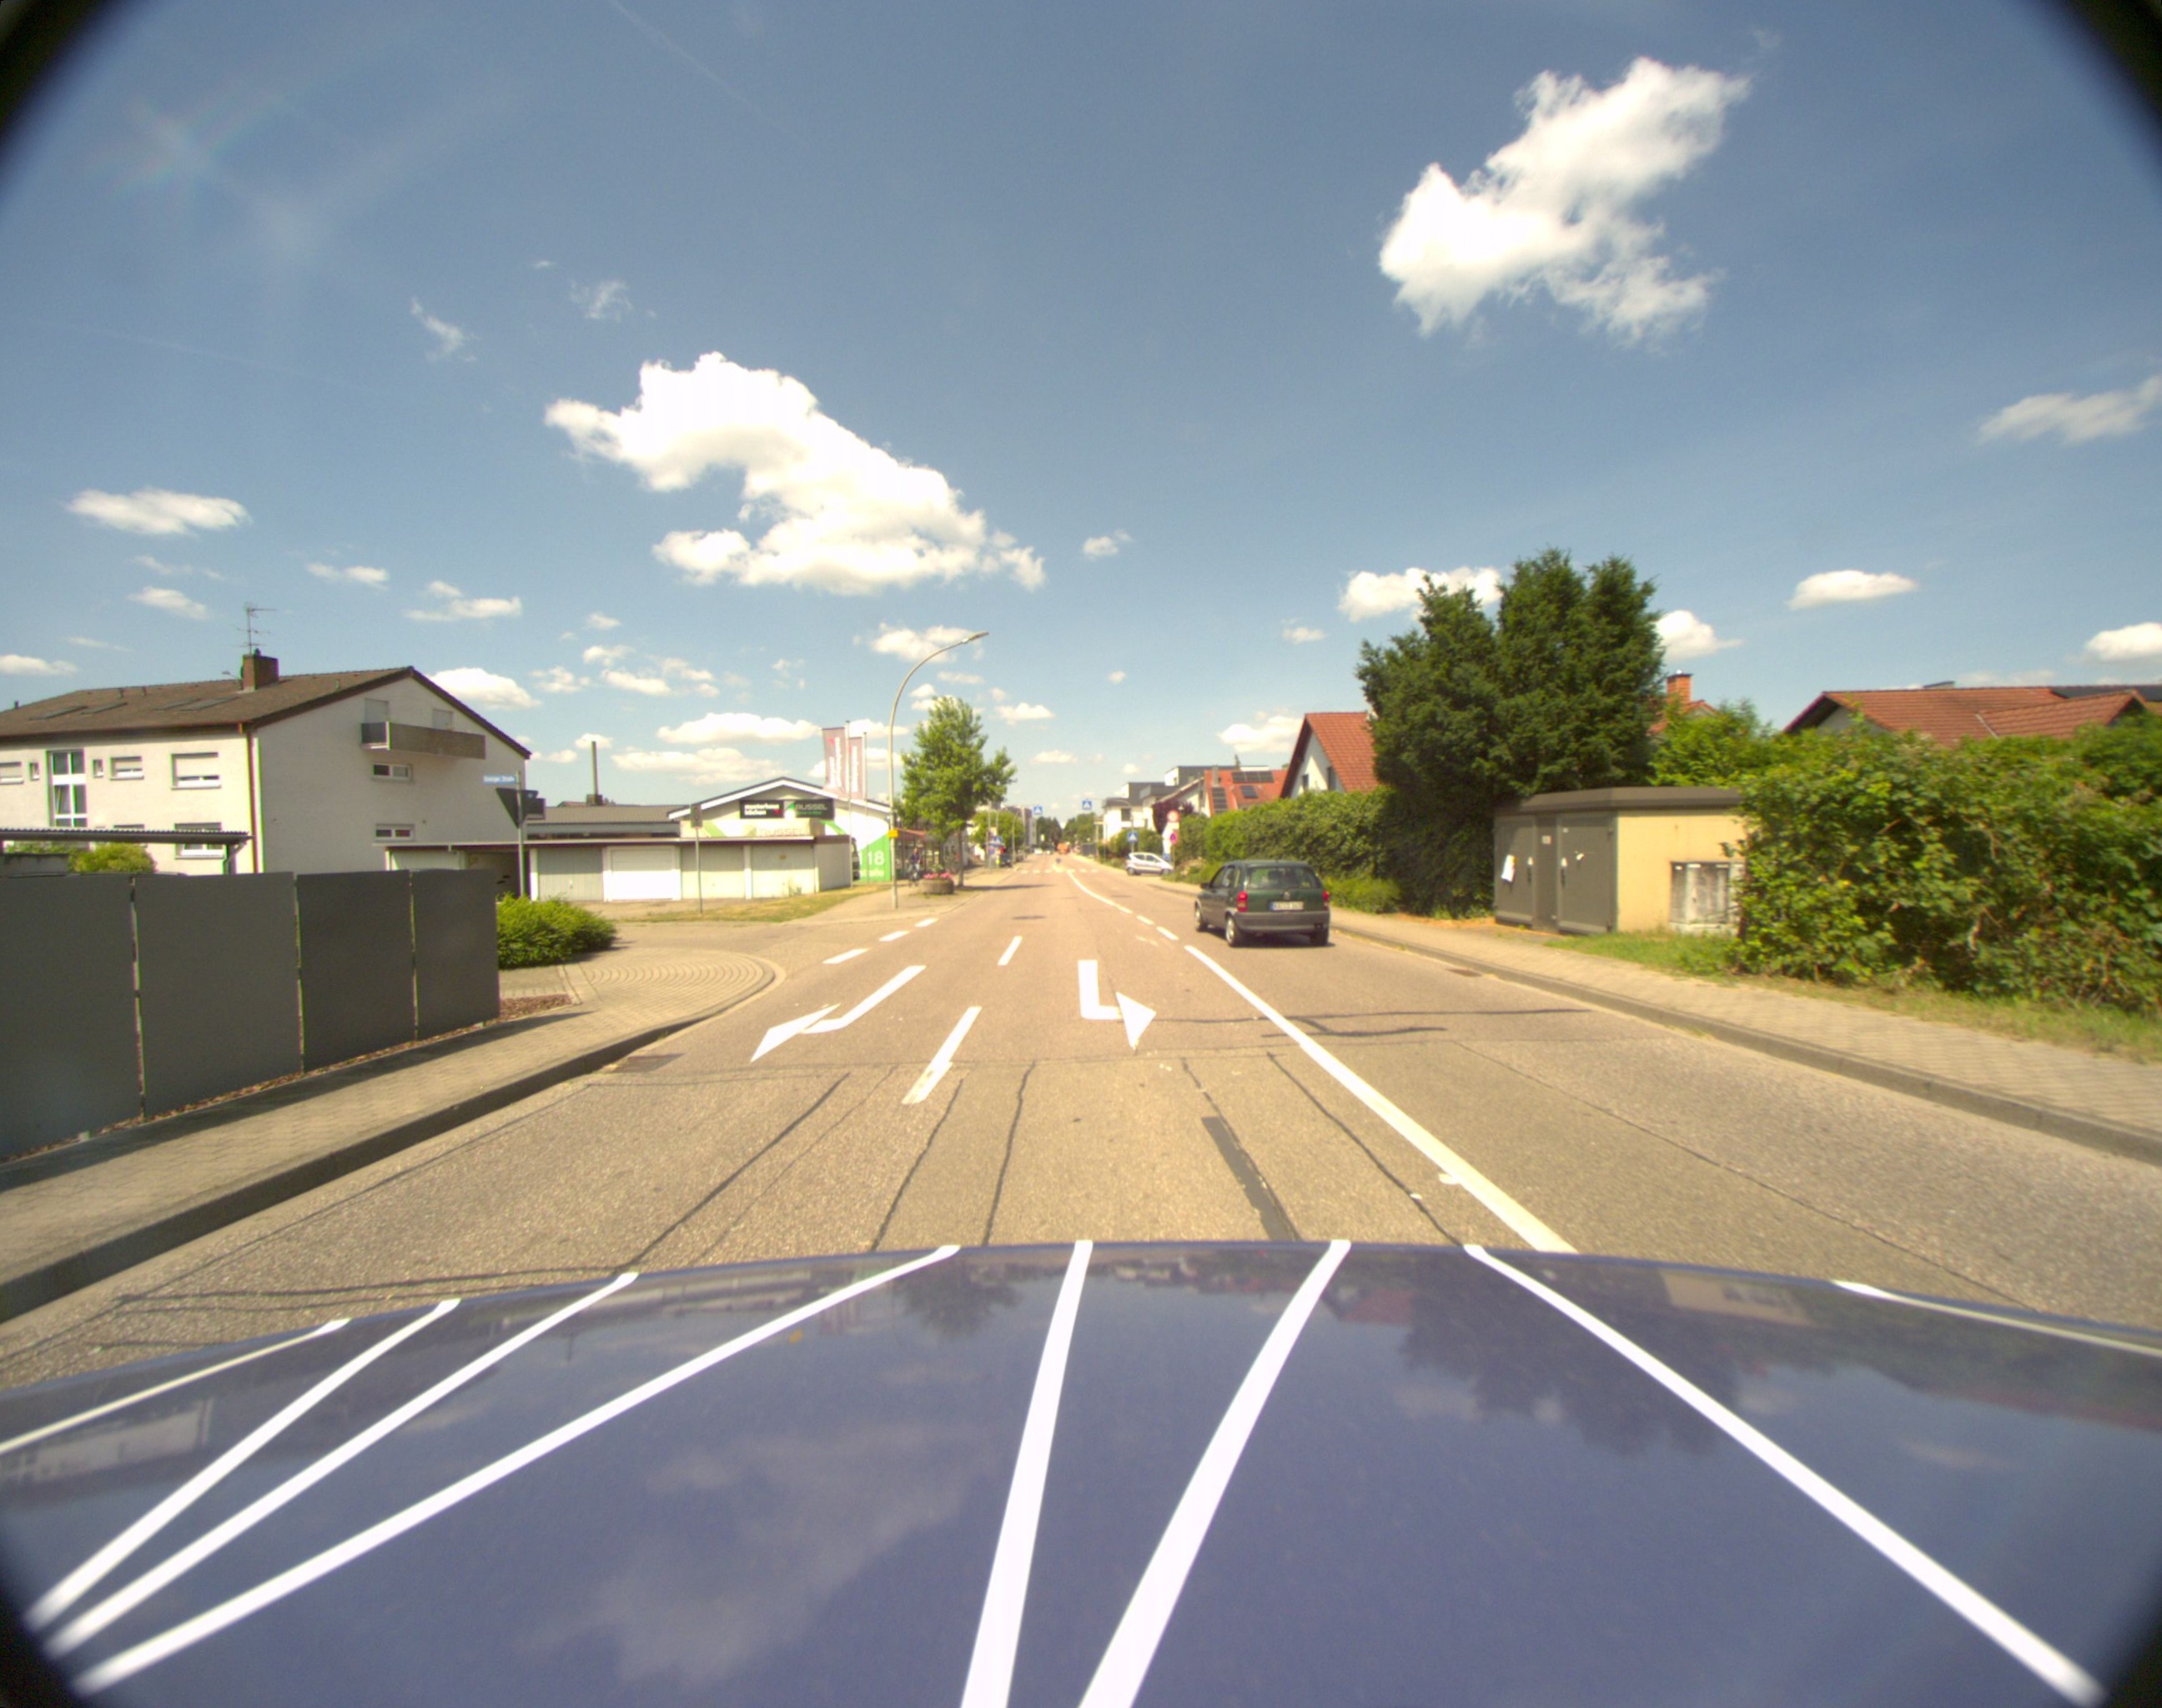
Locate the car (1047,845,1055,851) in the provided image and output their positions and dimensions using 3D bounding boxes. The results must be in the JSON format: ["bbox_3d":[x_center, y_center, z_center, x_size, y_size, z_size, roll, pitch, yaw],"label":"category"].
[{"bbox_3d":[-7.494,-1.580,190.062,1.729,1.484,3.758,0,1,-2],"label":"car"}]

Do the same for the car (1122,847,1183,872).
[{"bbox_3d":[4.881,0.405,51.625,3.751,1.590,1.727,-2,-1,23],"label":"car"}]

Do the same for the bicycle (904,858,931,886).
[{"bbox_3d":[-7.338,0.798,34.114,0.805,1.158,1.942,-4,0,-3],"label":"bicycle"}]

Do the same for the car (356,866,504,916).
[{"bbox_3d":[-22.893,1.245,26.952,1.679,1.494,4.130,-1,1,-1],"label":"car"}]

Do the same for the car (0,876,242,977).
[{"bbox_3d":[-18.886,1.264,14.181,1.741,1.638,4.216,0,-1,1],"label":"car"}]

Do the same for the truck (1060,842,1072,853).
[{"bbox_3d":[-3.948,-1.731,201.786,2.865,2.695,6.788,0,1,-3],"label":"truck"}]

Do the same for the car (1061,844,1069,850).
[{"bbox_3d":[-3.895,-1.630,182.404,1.799,1.480,3.612,0,1,-3],"label":"car"}]

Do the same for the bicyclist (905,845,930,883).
[{"bbox_3d":[-7.334,0.427,34.055,0.805,1.620,1.111,-4,0,-3],"label":"bicyclist"}]

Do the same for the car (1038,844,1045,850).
[{"bbox_3d":[-10.078,-1.784,193.538,1.729,1.484,3.759,0,1,-2],"label":"car"}]

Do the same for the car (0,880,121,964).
[{"bbox_3d":[-21.436,1.307,14.334,1.741,1.577,3.854,0,-1,1],"label":"car"}]

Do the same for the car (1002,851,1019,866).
[{"bbox_3d":[-7.634,0.478,82.729,1.730,1.484,3.758,0,1,-3],"label":"car"}]

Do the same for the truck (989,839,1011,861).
[{"bbox_3d":[-10.422,-0.534,97.579,2.581,2.746,6.329,0,1,-8],"label":"truck"}]

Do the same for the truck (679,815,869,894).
[{"bbox_3d":[-15.144,-0.036,37.953,8.193,3.553,2.676,-2,2,-3],"label":"truck"}]

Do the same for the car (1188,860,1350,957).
[{"bbox_3d":[3.149,0.846,13.549,1.785,1.425,3.871,0,0,-2],"label":"car"}]
